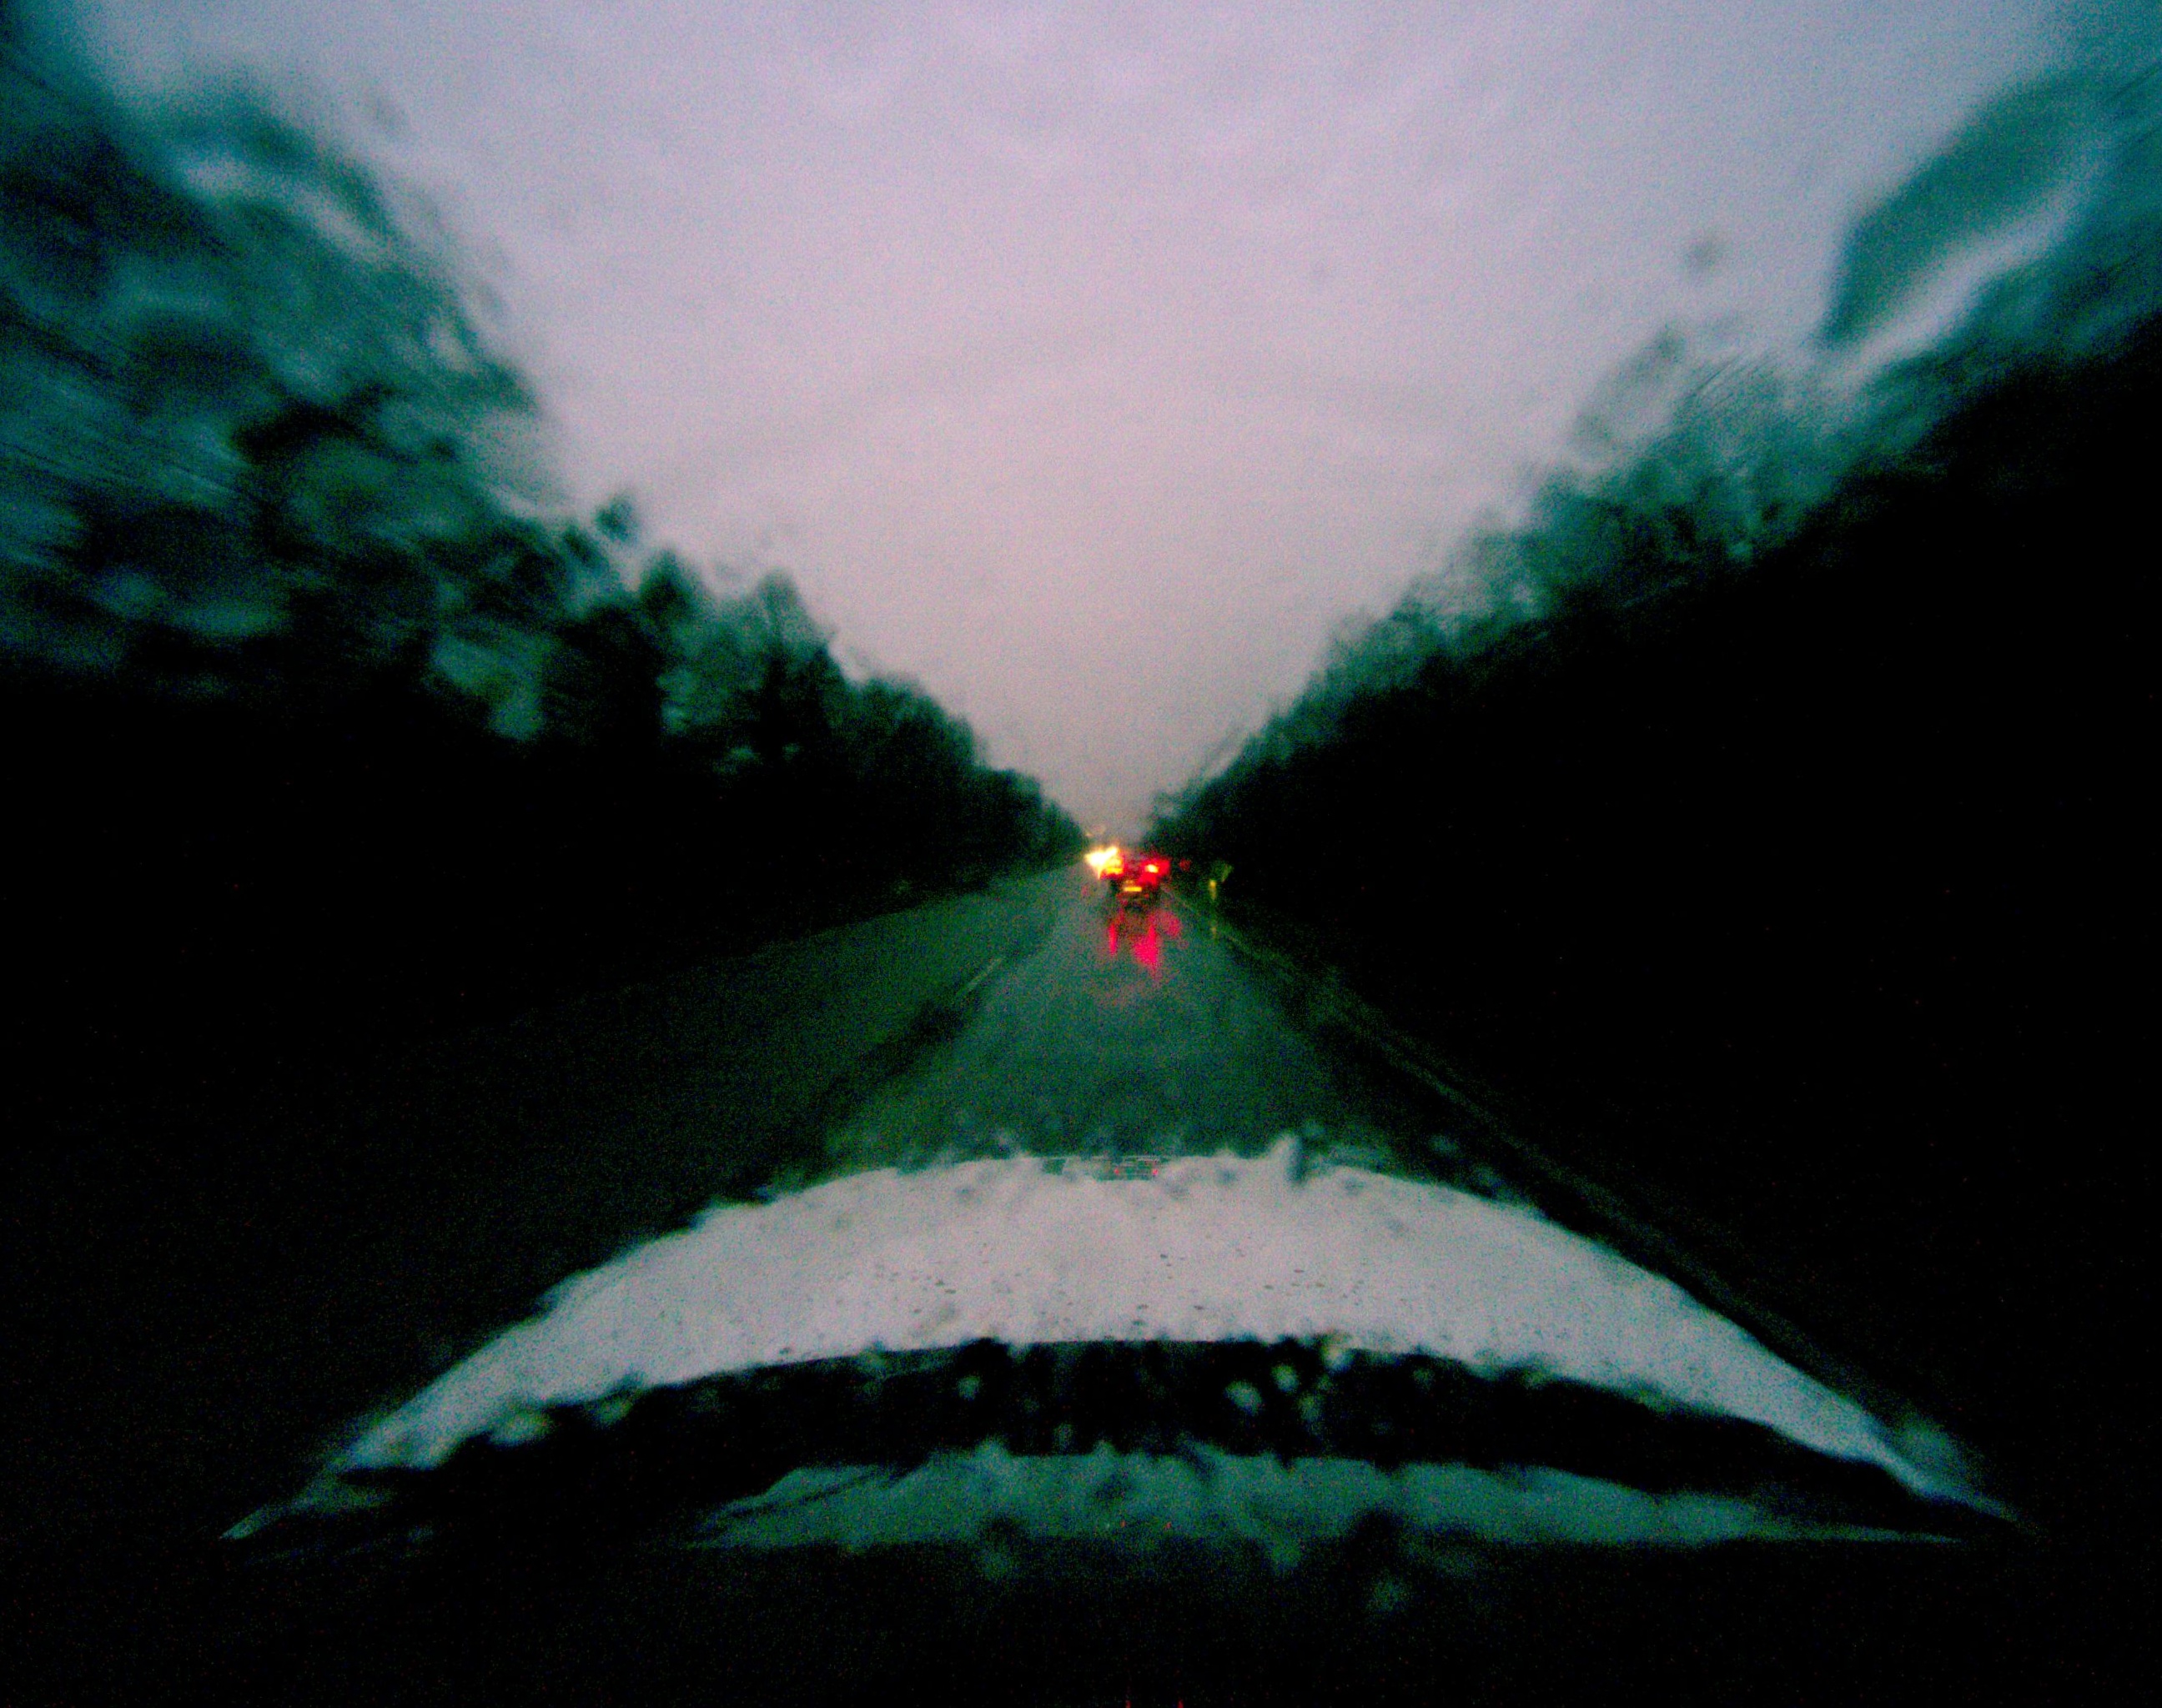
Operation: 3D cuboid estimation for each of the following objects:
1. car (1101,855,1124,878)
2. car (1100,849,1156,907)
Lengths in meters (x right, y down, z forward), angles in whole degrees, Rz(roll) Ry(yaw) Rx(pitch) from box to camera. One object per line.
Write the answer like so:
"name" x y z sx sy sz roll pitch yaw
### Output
"car" 2.470 0.941 63.802 1.726 1.779 4.002 0 0 2
"car" 1.486 0.704 25.517 1.641 1.672 3.517 0 0 4
